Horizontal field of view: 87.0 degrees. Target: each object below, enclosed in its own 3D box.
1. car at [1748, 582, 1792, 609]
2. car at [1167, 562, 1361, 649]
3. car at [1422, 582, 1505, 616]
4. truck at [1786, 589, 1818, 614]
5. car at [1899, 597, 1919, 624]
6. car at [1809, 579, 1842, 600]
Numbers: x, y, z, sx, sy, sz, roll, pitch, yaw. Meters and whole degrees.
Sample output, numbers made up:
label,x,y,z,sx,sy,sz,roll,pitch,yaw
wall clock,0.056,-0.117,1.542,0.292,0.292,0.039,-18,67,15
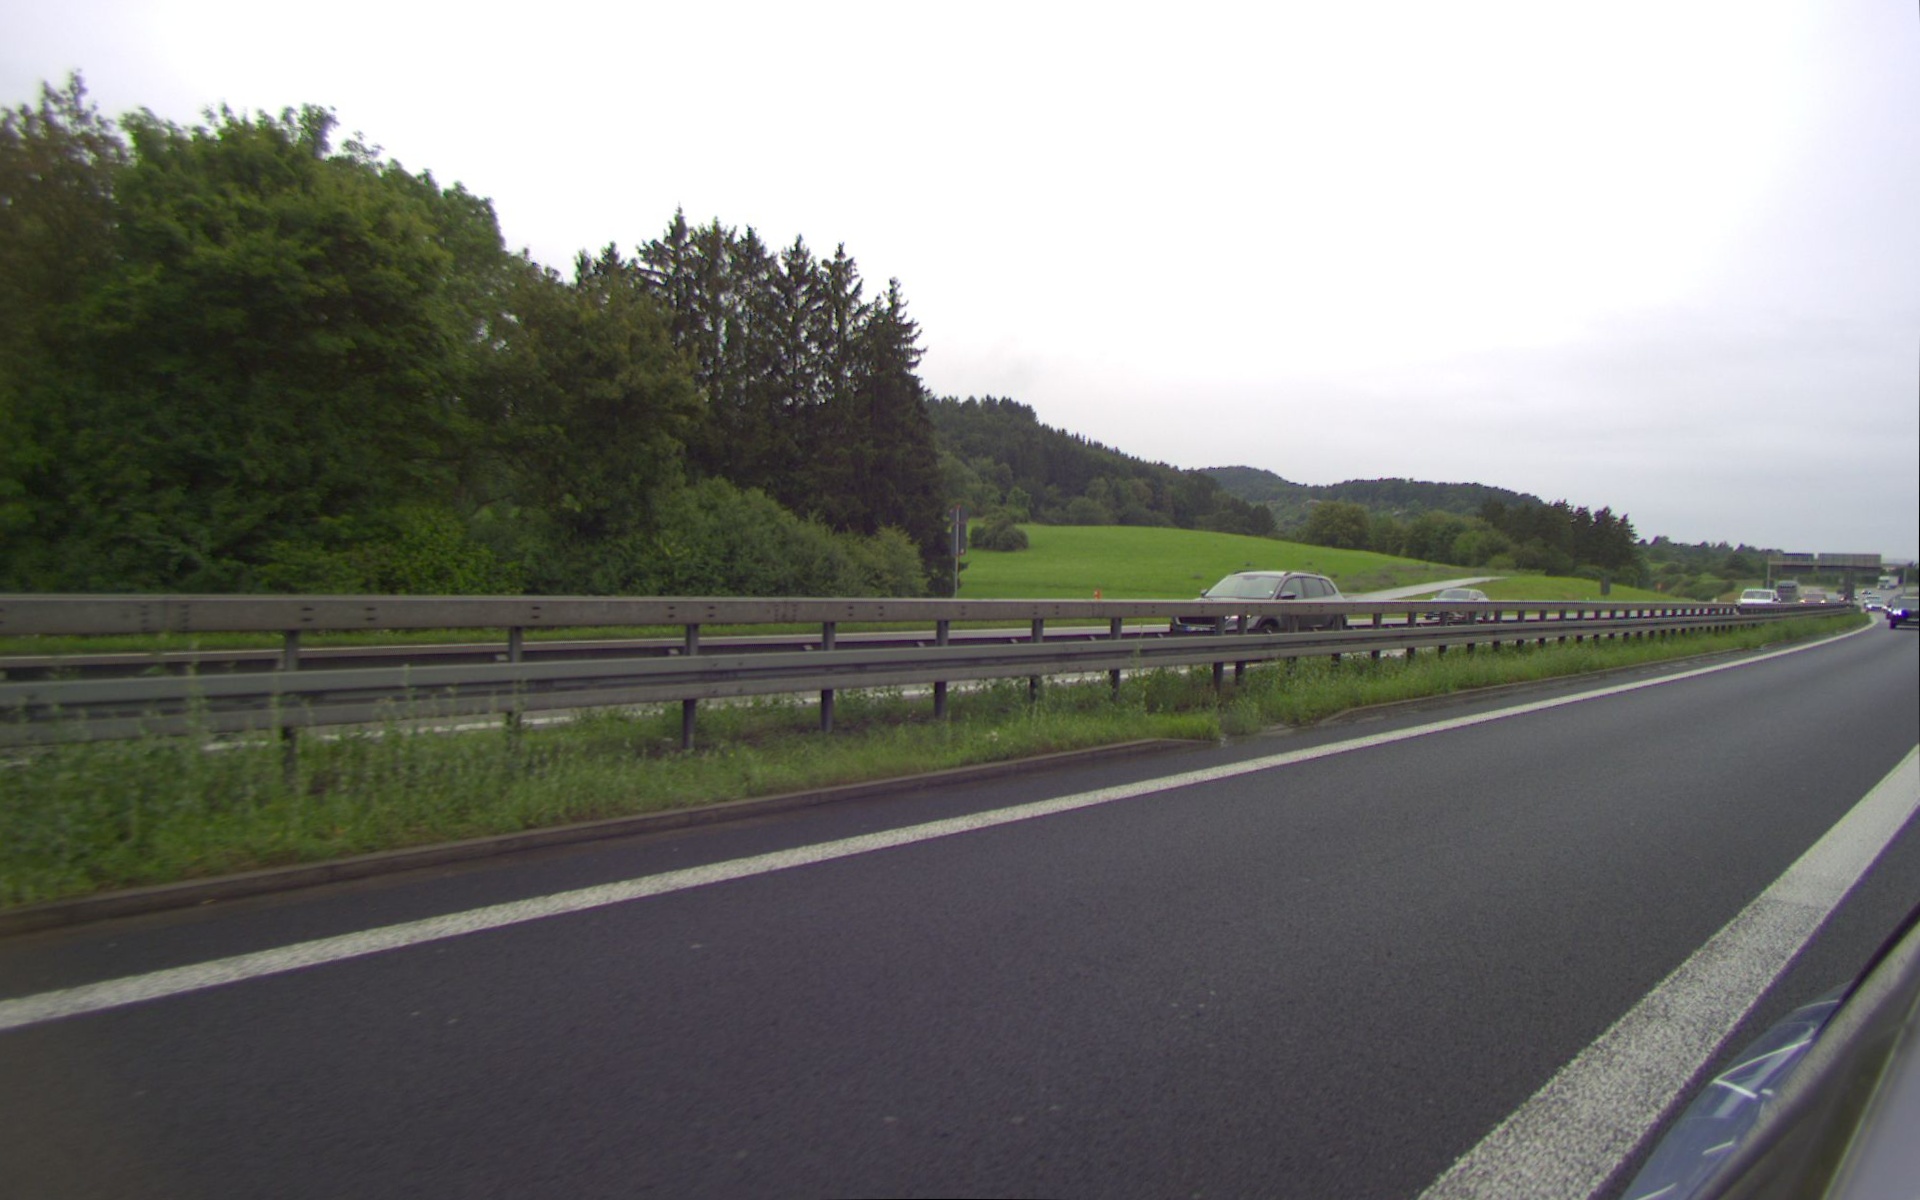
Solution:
label,x,y,z,sx,sy,sz,roll,pitch,yaw
car,53.142,-0.311,66.344,1.908,1.714,4.646,1,1,43
car,5.718,0.046,18.781,4.058,1.399,1.668,-1,3,-44
car,22.922,-0.077,45.985,4.631,1.473,1.901,-1,1,-43
truck,134.968,0.155,162.186,9.862,3.949,2.794,-1,1,-44
car,52.171,0.563,54.734,4.493,1.374,1.863,-1,1,-45
car,85.762,-1.079,100.240,2.125,2.039,4.995,1,1,45
